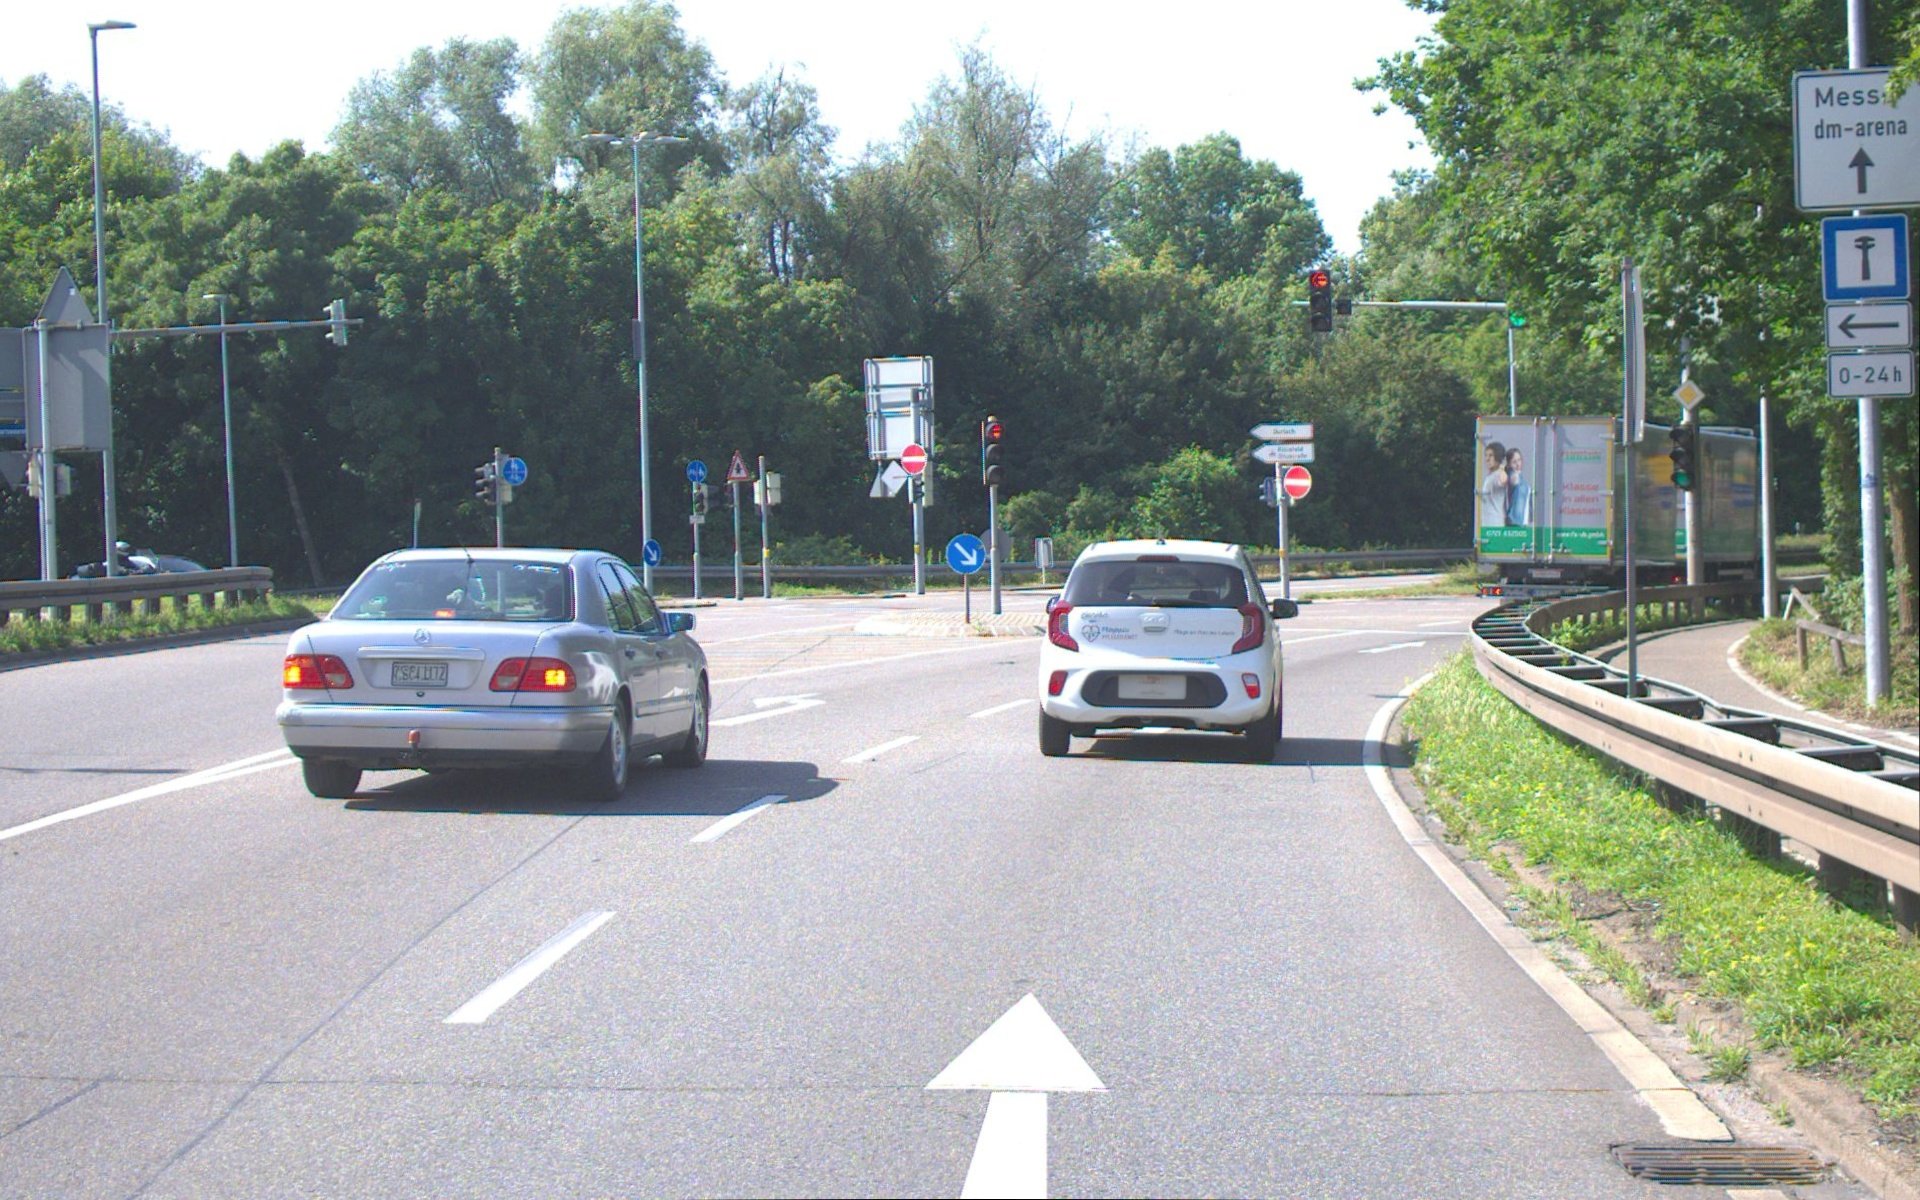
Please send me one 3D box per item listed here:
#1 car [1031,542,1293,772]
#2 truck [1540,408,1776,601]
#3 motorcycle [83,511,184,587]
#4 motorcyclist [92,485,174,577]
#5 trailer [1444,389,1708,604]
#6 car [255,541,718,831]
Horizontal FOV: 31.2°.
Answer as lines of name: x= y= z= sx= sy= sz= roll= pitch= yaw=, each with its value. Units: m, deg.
car: x=1.431 y=0.351 z=24.778 sx=1.702 sy=1.489 sz=4.000 roll=1 pitch=1 yaw=3
truck: x=14.849 y=-1.960 z=72.592 sx=3.264 sy=3.745 sz=8.361 roll=3 pitch=1 yaw=22
motorcycle: x=-17.619 y=-1.077 z=73.280 sx=1.980 sy=1.524 sz=0.898 roll=-3 pitch=-1 yaw=30
motorcyclist: x=-17.633 y=-1.458 z=73.299 sx=1.462 sy=1.864 sz=0.891 roll=-3 pitch=-2 yaw=30
trailer: x=11.781 y=-1.897 z=65.107 sx=3.228 sy=3.745 sz=7.815 roll=3 pitch=1 yaw=22
car: x=-2.652 y=0.406 z=20.446 sx=1.939 sy=1.481 sz=4.900 roll=1 pitch=1 yaw=2
